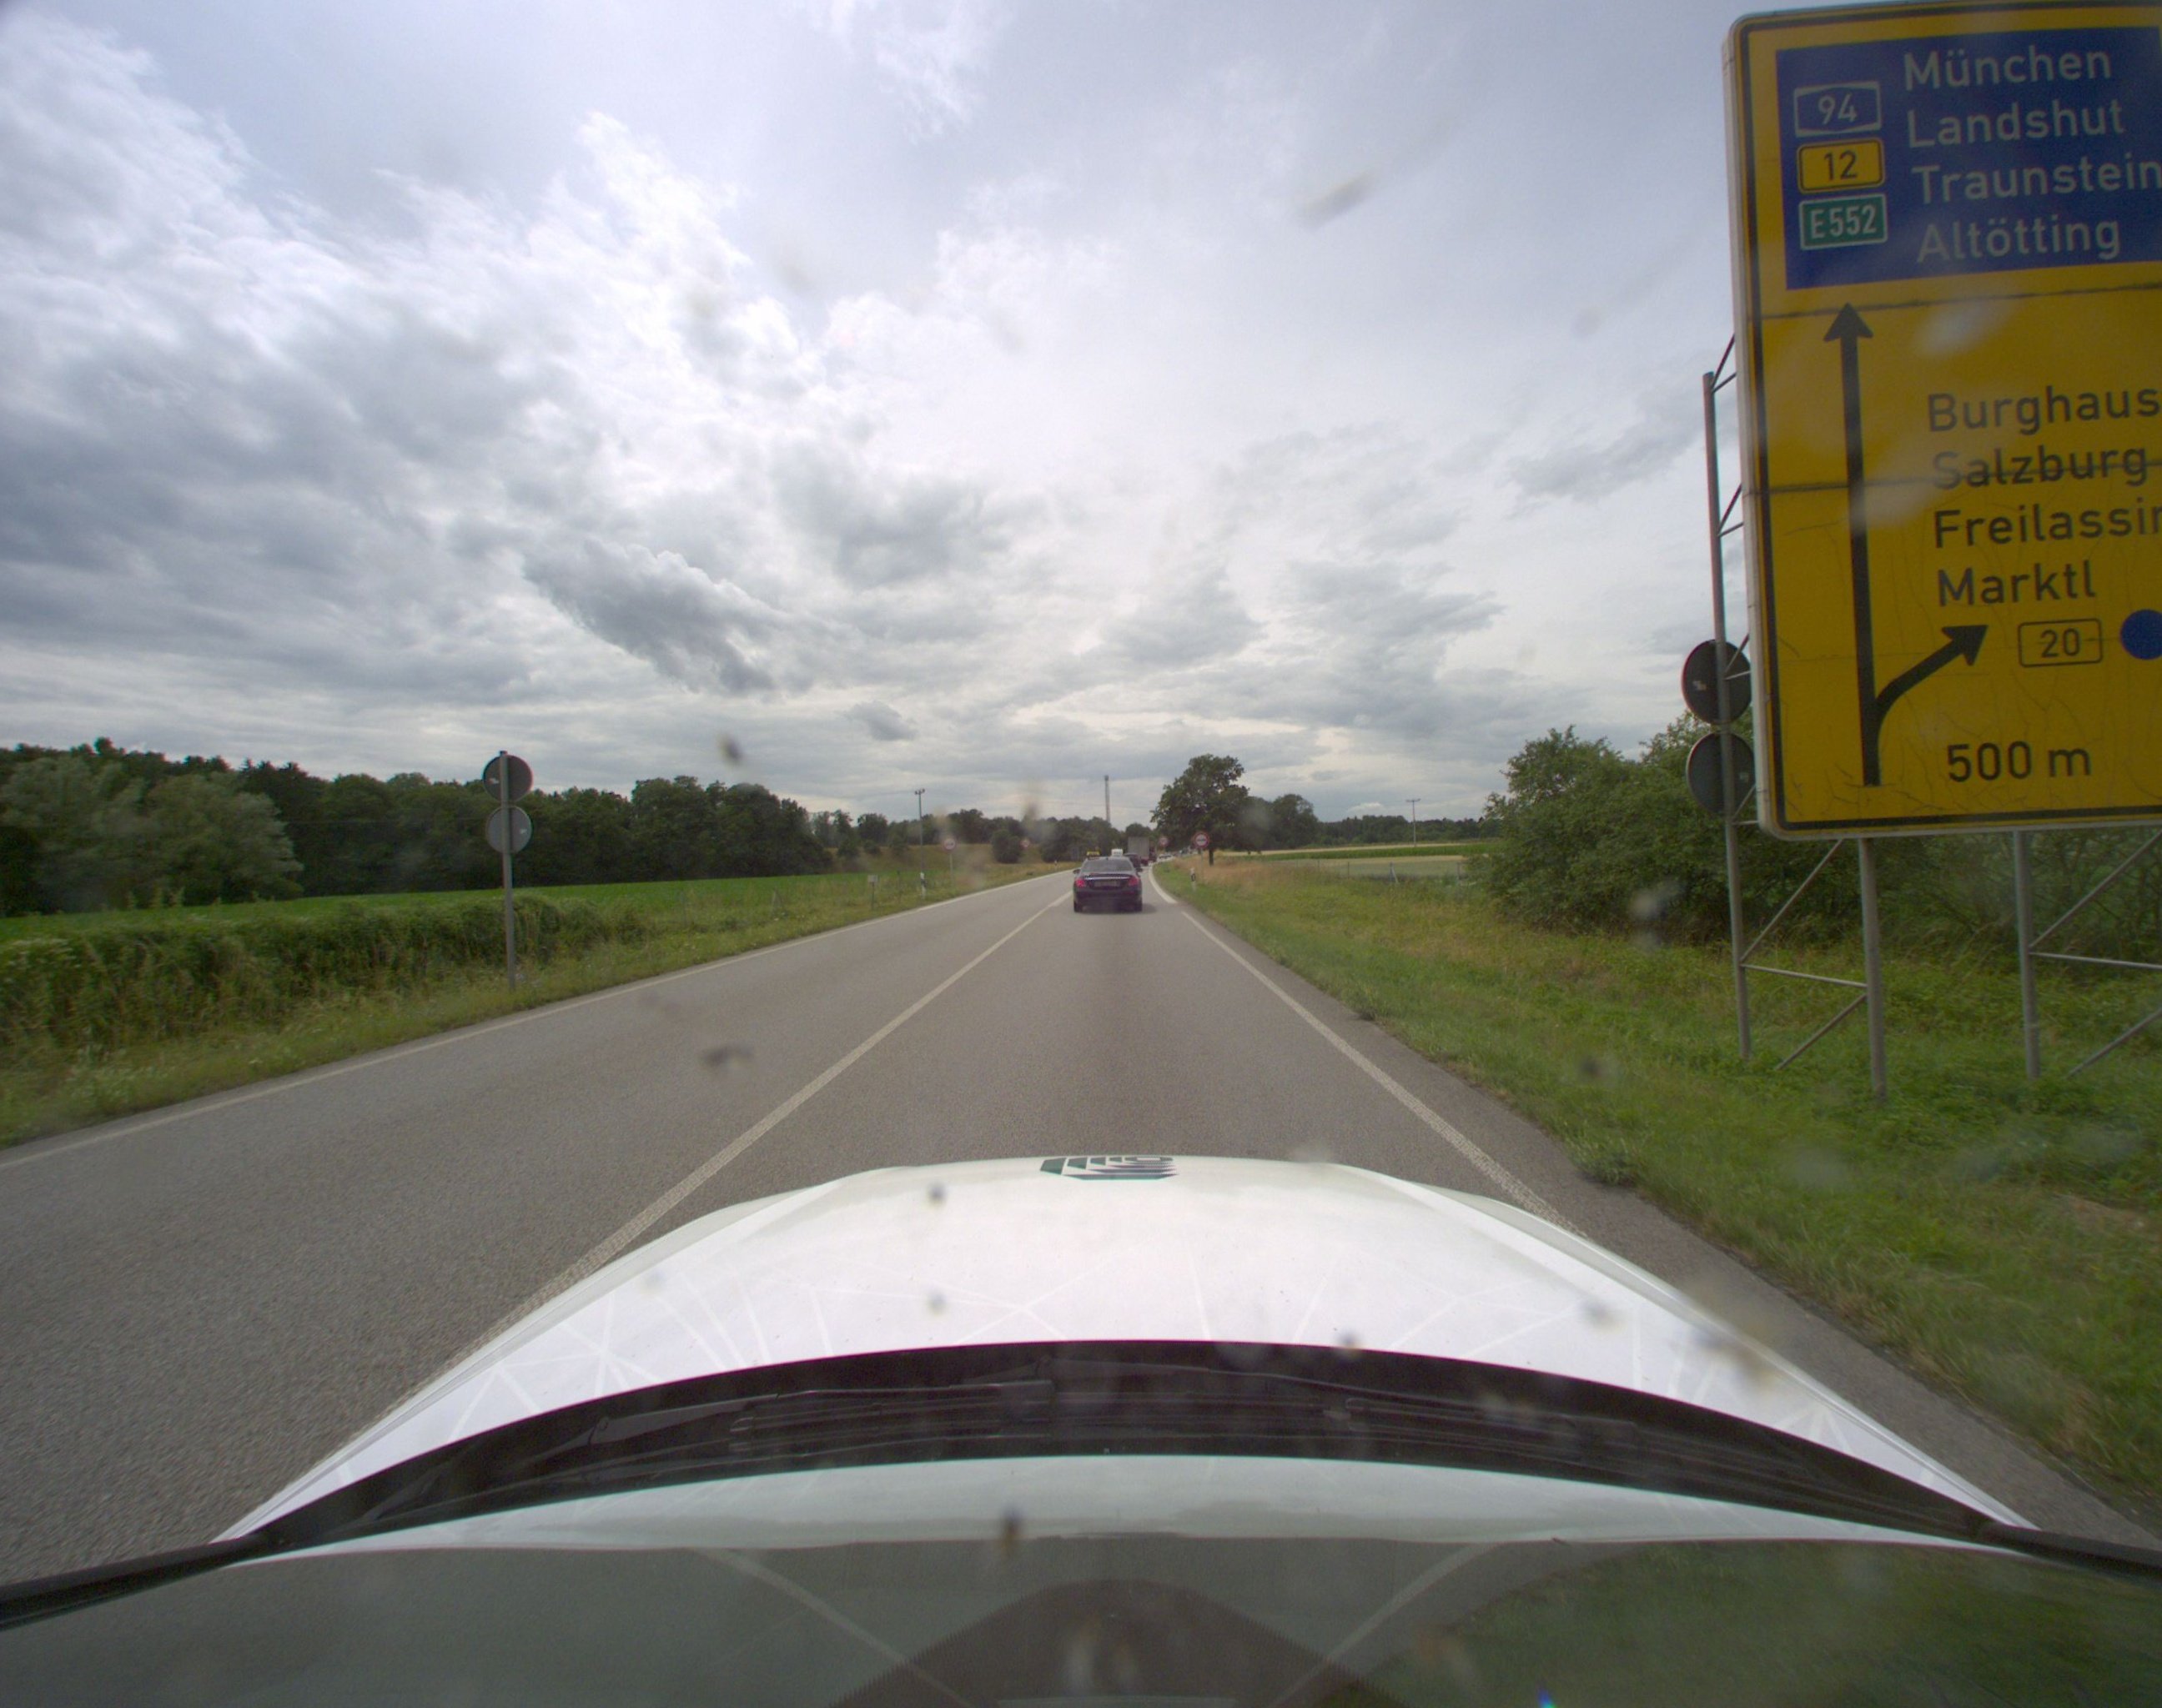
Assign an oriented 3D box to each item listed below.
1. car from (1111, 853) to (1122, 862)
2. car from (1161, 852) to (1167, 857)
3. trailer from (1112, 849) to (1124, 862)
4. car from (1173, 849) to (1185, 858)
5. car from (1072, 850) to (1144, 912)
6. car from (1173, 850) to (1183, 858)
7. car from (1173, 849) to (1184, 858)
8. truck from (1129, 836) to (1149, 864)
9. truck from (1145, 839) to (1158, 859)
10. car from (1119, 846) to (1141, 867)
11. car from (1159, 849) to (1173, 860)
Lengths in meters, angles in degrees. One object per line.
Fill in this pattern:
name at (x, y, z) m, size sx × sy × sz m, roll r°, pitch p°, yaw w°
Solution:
car at (6.825, 0.674, 156.065) m, size 1.997 × 1.657 × 4.332 m, roll 0°, pitch -1°, yaw 4°
car at (21.730, 0.075, 213.564) m, size 1.641 × 1.395 × 3.711 m, roll 0°, pitch -1°, yaw 6°
trailer at (7.294, 0.282, 161.344) m, size 2.172 × 2.575 × 6.250 m, roll 0°, pitch -1°, yaw 4°
car at (17.619, -0.050, 146.765) m, size 1.789 × 1.662 × 4.000 m, roll 0°, pitch -1°, yaw 1°
car at (0.721, 0.696, 22.448) m, size 1.789 × 1.560 × 4.000 m, roll 0°, pitch -1°, yaw 1°
car at (20.917, -0.052, 175.295) m, size 1.789 × 1.662 × 4.000 m, roll 0°, pitch -1°, yaw 1°
car at (19.407, -0.074, 161.605) m, size 1.789 × 1.662 × 4.000 m, roll 0°, pitch -1°, yaw 1°
truck at (7.446, -0.493, 104.814) m, size 2.575 × 3.524 × 4.817 m, roll 0°, pitch -1°, yaw 4°
truck at (12.578, -0.833, 145.208) m, size 1.986 × 3.526 × 4.593 m, roll 0°, pitch -1°, yaw 1°
car at (4.840, 0.284, 80.171) m, size 1.986 × 2.014 × 4.000 m, roll 0°, pitch -1°, yaw 1°
car at (13.223, 0.082, 127.193) m, size 1.789 × 1.662 × 4.000 m, roll 0°, pitch -1°, yaw 1°
